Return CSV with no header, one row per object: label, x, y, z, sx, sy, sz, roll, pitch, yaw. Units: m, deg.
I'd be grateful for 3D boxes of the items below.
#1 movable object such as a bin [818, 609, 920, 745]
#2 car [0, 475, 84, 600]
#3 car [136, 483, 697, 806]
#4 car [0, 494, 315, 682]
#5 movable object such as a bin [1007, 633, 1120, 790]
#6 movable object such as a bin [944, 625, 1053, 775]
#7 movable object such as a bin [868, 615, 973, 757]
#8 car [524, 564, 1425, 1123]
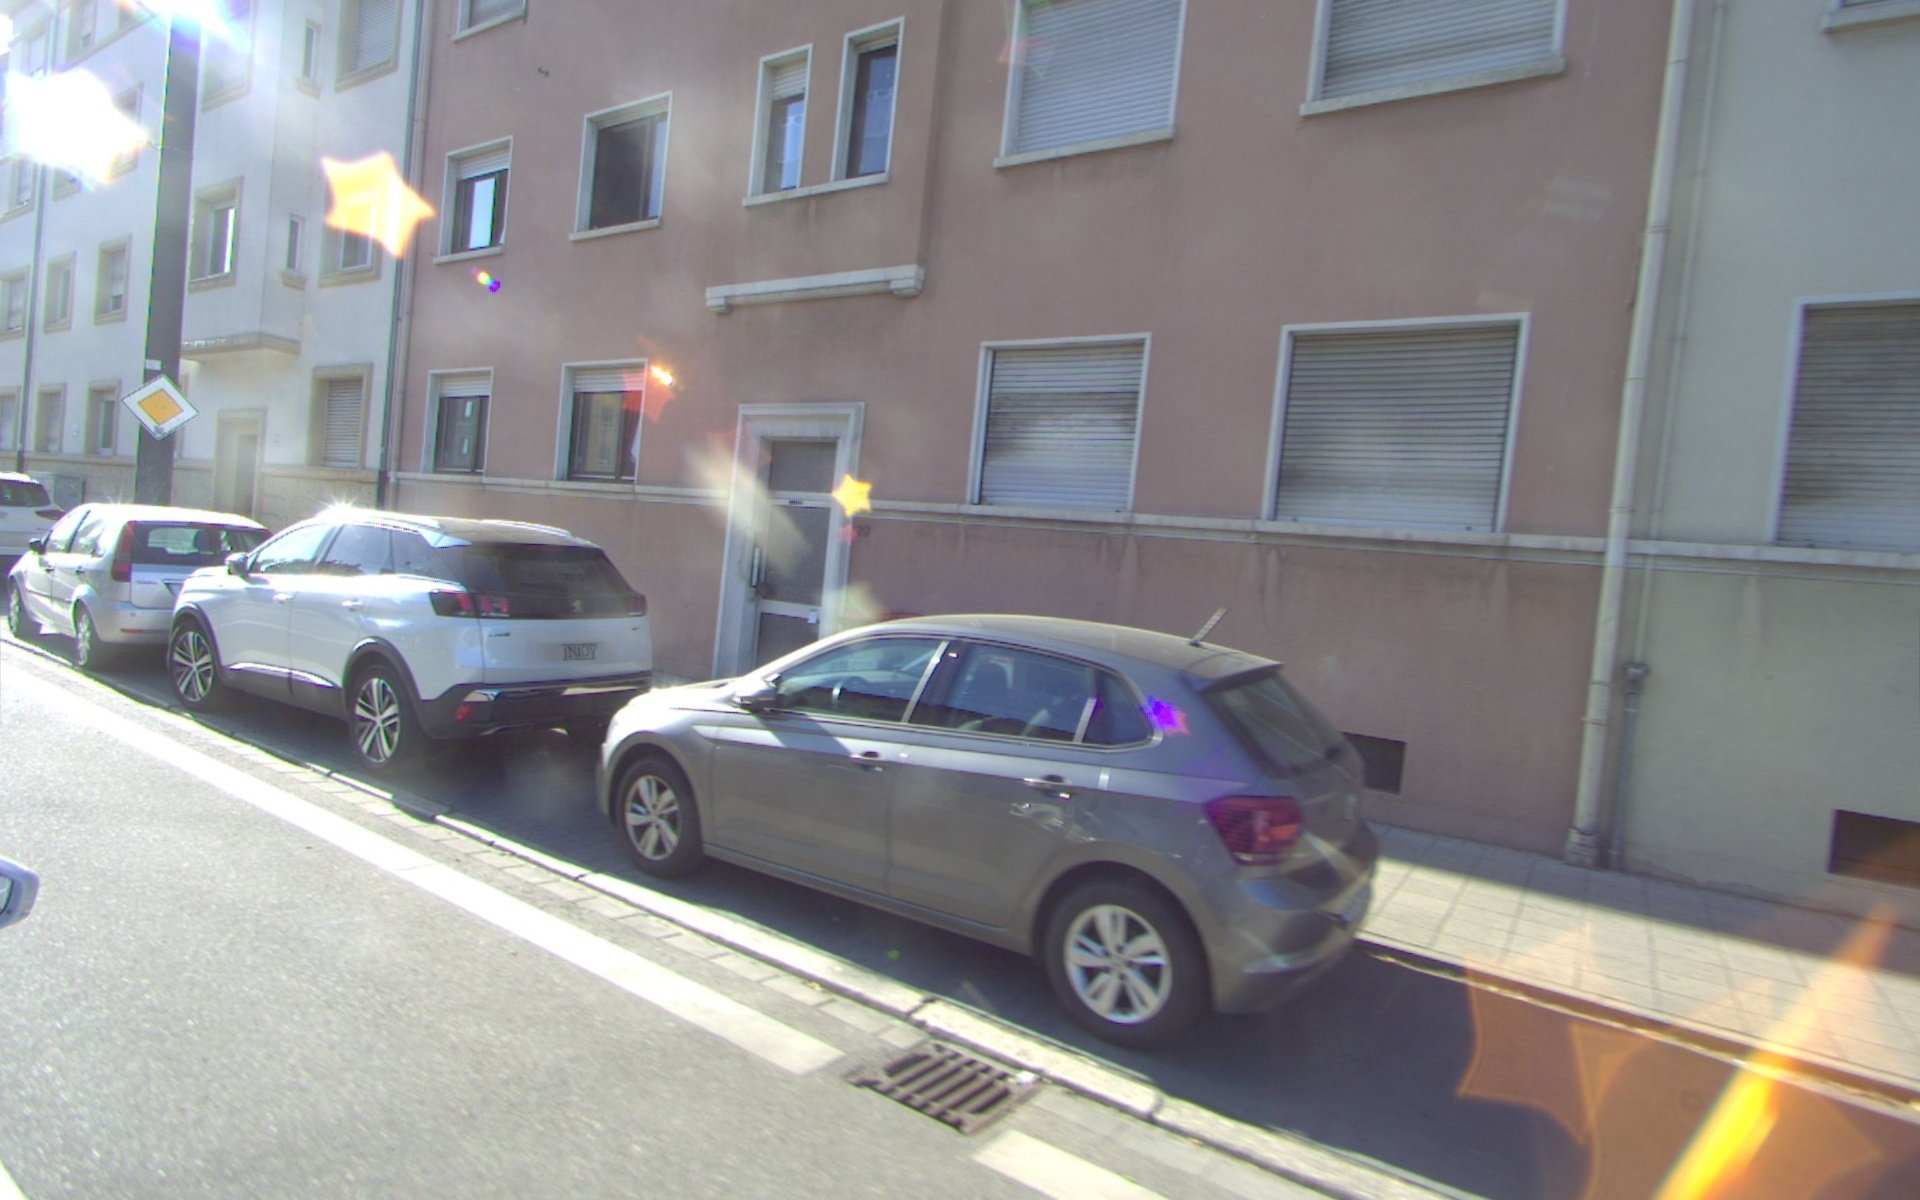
movable object such as a bin,-0.831,0.709,9.236,0.554,1.148,0.604,6,-1,34
car,-14.973,-1.065,14.809,4.499,1.659,1.848,6,2,32
car,-4.297,0.135,7.716,4.416,1.721,1.800,6,4,32
car,-8.390,-0.212,10.295,3.991,1.481,1.620,7,3,35
movable object such as a bin,0.832,0.883,8.057,0.554,1.148,0.604,6,-1,34
movable object such as a bin,0.327,0.830,8.411,0.554,1.148,0.604,6,-1,34
movable object such as a bin,-0.342,0.760,8.892,0.554,1.148,0.604,6,-1,34
car,-0.102,0.741,4.992,4.085,1.500,1.744,6,4,32
